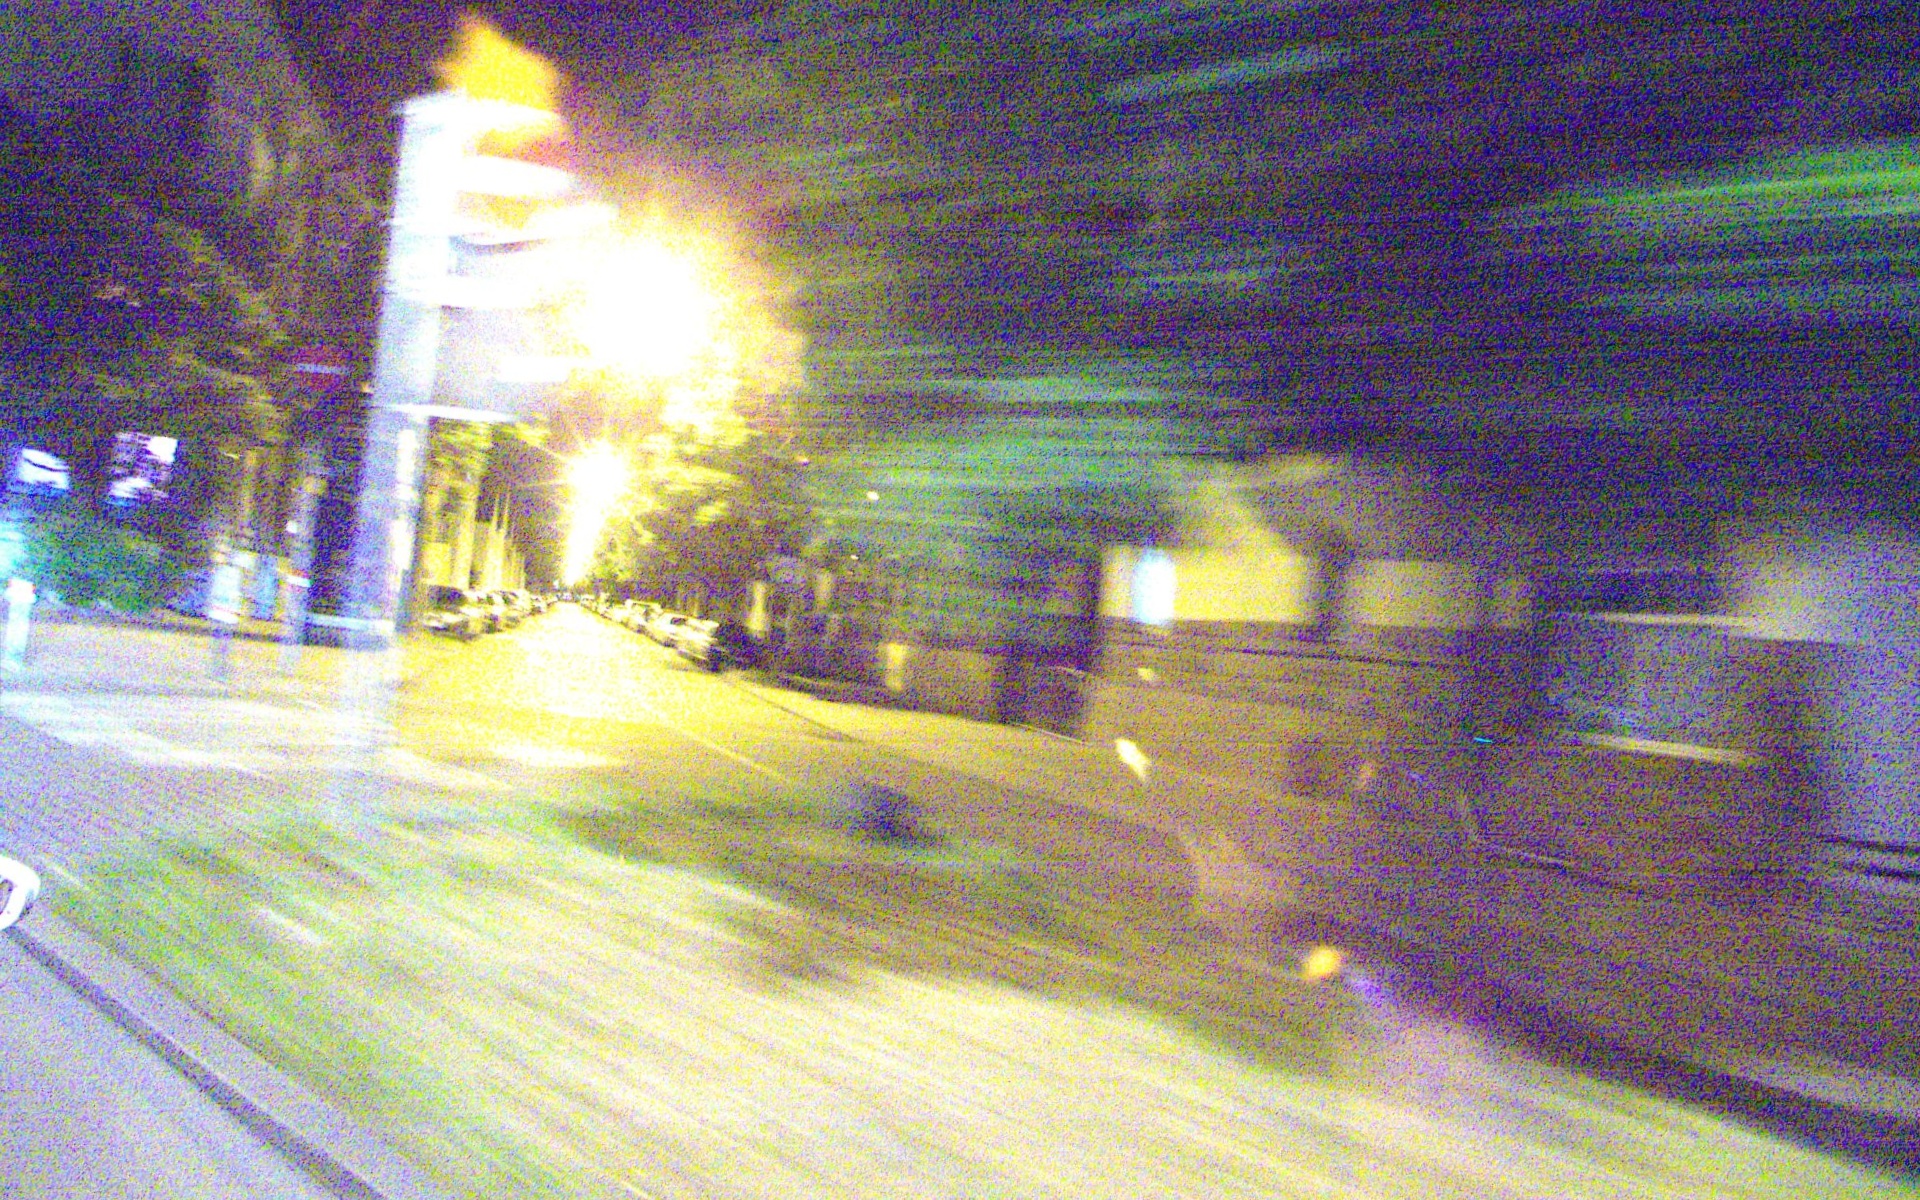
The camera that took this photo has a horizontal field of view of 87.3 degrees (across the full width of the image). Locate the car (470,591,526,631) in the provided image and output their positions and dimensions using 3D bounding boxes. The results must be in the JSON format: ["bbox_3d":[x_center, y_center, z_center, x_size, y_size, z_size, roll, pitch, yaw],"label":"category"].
[{"bbox_3d":[-19.808,0.452,43.263,1.751,1.433,3.904,8,-3,-20],"label":"car"}]

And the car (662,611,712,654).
[{"bbox_3d":[-12.414,1.432,45.649,1.777,1.597,3.824,8,-2,-19],"label":"car"}]

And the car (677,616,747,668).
[{"bbox_3d":[-8.711,1.427,35.106,1.778,1.433,3.822,8,-3,-20],"label":"car"}]

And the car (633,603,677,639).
[{"bbox_3d":[-17.787,1.179,58.495,1.973,1.723,3.978,8,-2,-21],"label":"car"}]

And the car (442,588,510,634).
[{"bbox_3d":[-17.652,0.379,36.830,1.751,1.356,3.904,8,-3,-20],"label":"car"}]

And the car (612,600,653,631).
[{"bbox_3d":[-23.100,1.077,70.964,1.977,1.822,3.975,8,-3,-27],"label":"car"}]

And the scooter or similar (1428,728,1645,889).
[{"bbox_3d":[5.388,1.910,9.504,0.495,1.160,1.652,5,0,-33],"label":"scooter or similar"}]

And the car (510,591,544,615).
[{"bbox_3d":[-31.485,0.213,73.258,1.749,1.457,3.907,8,-2,-17],"label":"car"}]

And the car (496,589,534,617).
[{"bbox_3d":[-28.190,0.190,63.817,1.751,1.457,3.904,8,-3,-20],"label":"car"}]

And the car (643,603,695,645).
[{"bbox_3d":[-14.614,1.183,50.316,1.973,1.723,4.014,8,-2,-21],"label":"car"}]

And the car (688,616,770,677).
[{"bbox_3d":[-6.985,1.348,30.152,1.778,1.433,3.822,8,-3,-20],"label":"car"}]

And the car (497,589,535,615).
[{"bbox_3d":[-30.218,0.147,68.535,1.749,1.457,3.907,8,-2,-17],"label":"car"}]

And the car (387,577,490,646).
[{"bbox_3d":[-13.492,0.286,26.232,1.778,1.433,3.822,8,-3,-20],"label":"car"}]

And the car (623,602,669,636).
[{"bbox_3d":[-19.980,1.183,63.938,1.977,1.783,3.975,9,-3,-27],"label":"car"}]

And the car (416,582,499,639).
[{"bbox_3d":[-15.689,0.308,31.601,1.778,1.433,3.822,8,-3,-20],"label":"car"}]

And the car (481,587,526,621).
[{"bbox_3d":[-24.284,0.193,53.666,1.751,1.518,3.904,8,-2,-20],"label":"car"}]
